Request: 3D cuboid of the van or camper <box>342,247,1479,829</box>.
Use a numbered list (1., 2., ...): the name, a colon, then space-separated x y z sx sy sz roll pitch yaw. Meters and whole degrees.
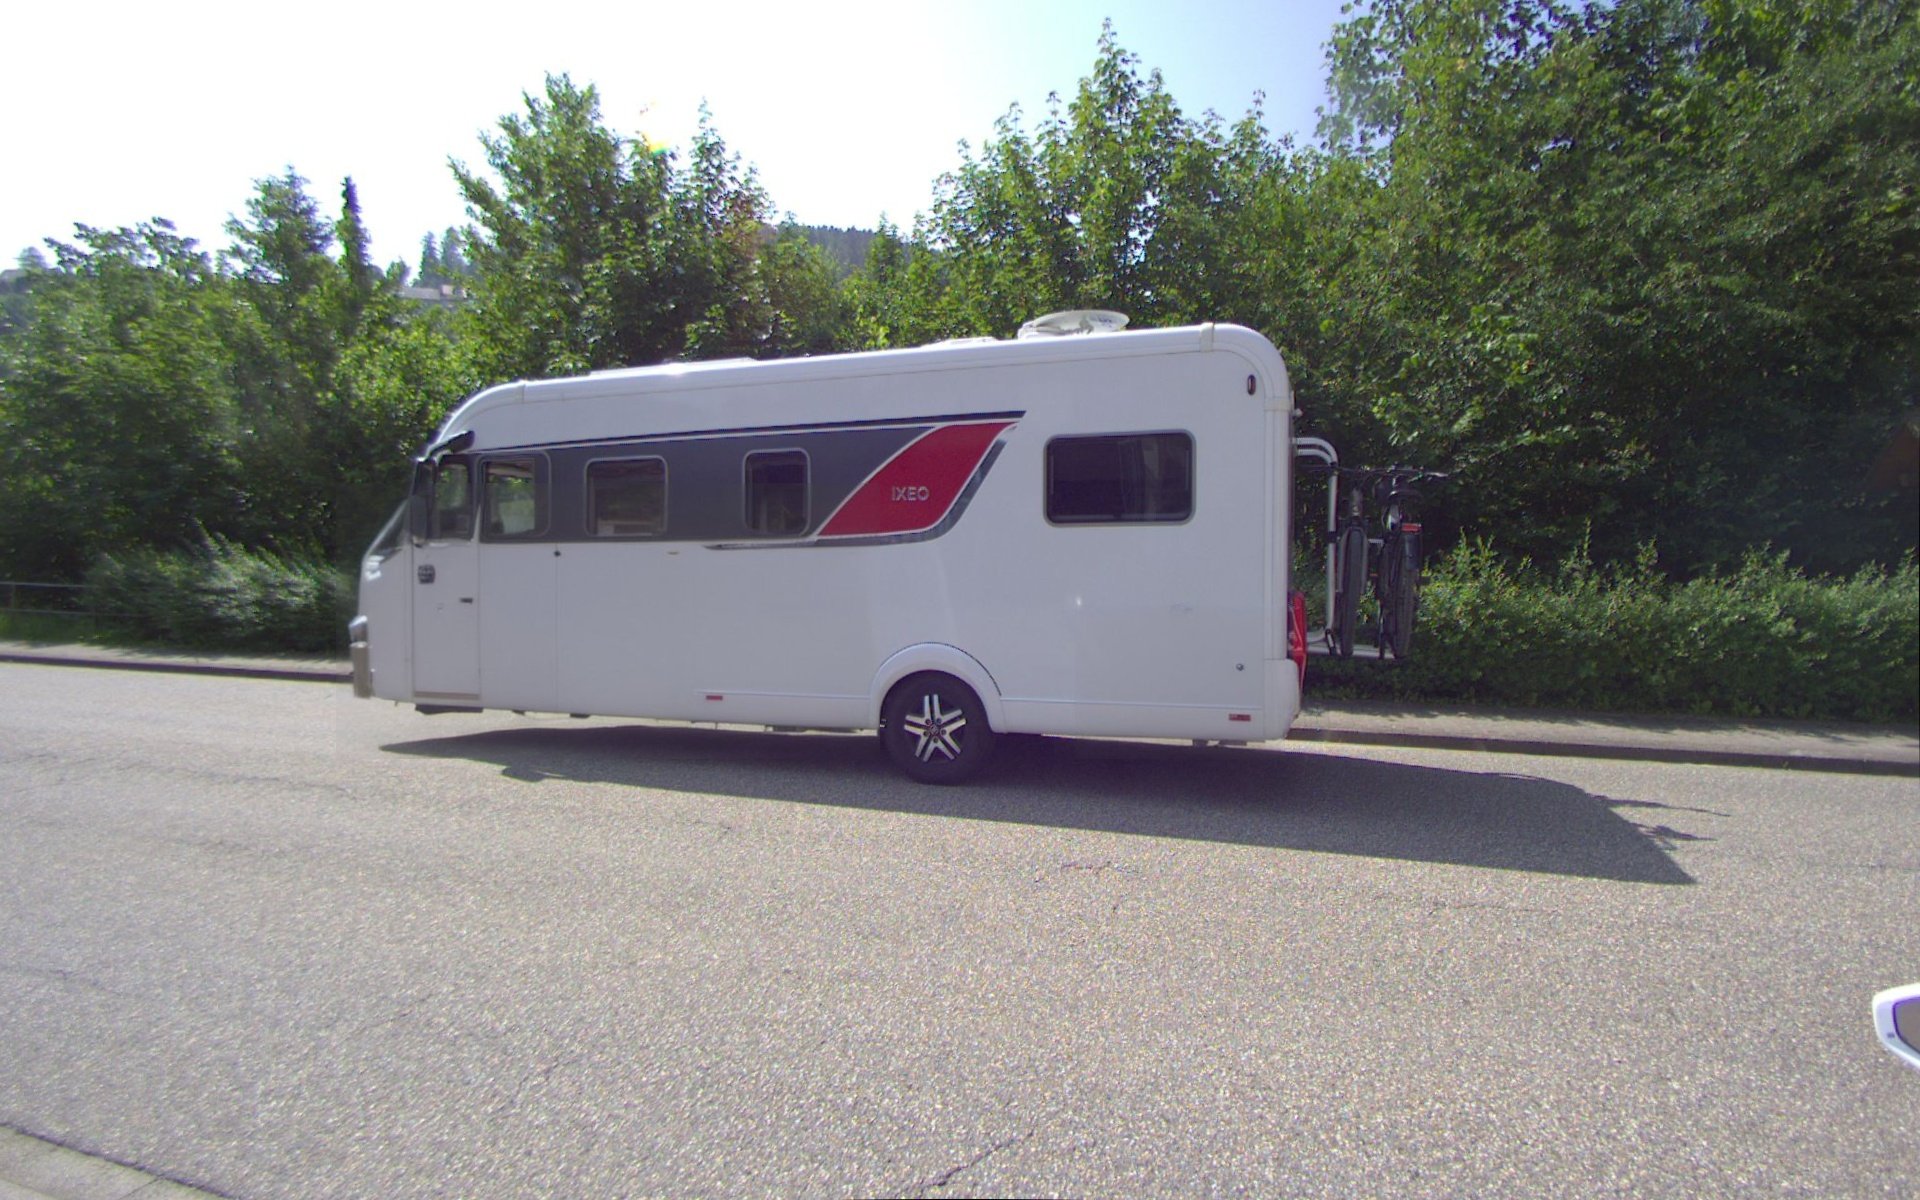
1. van or camper: -0.681 -0.381 7.612 7.892 2.993 2.365 1 2 20
